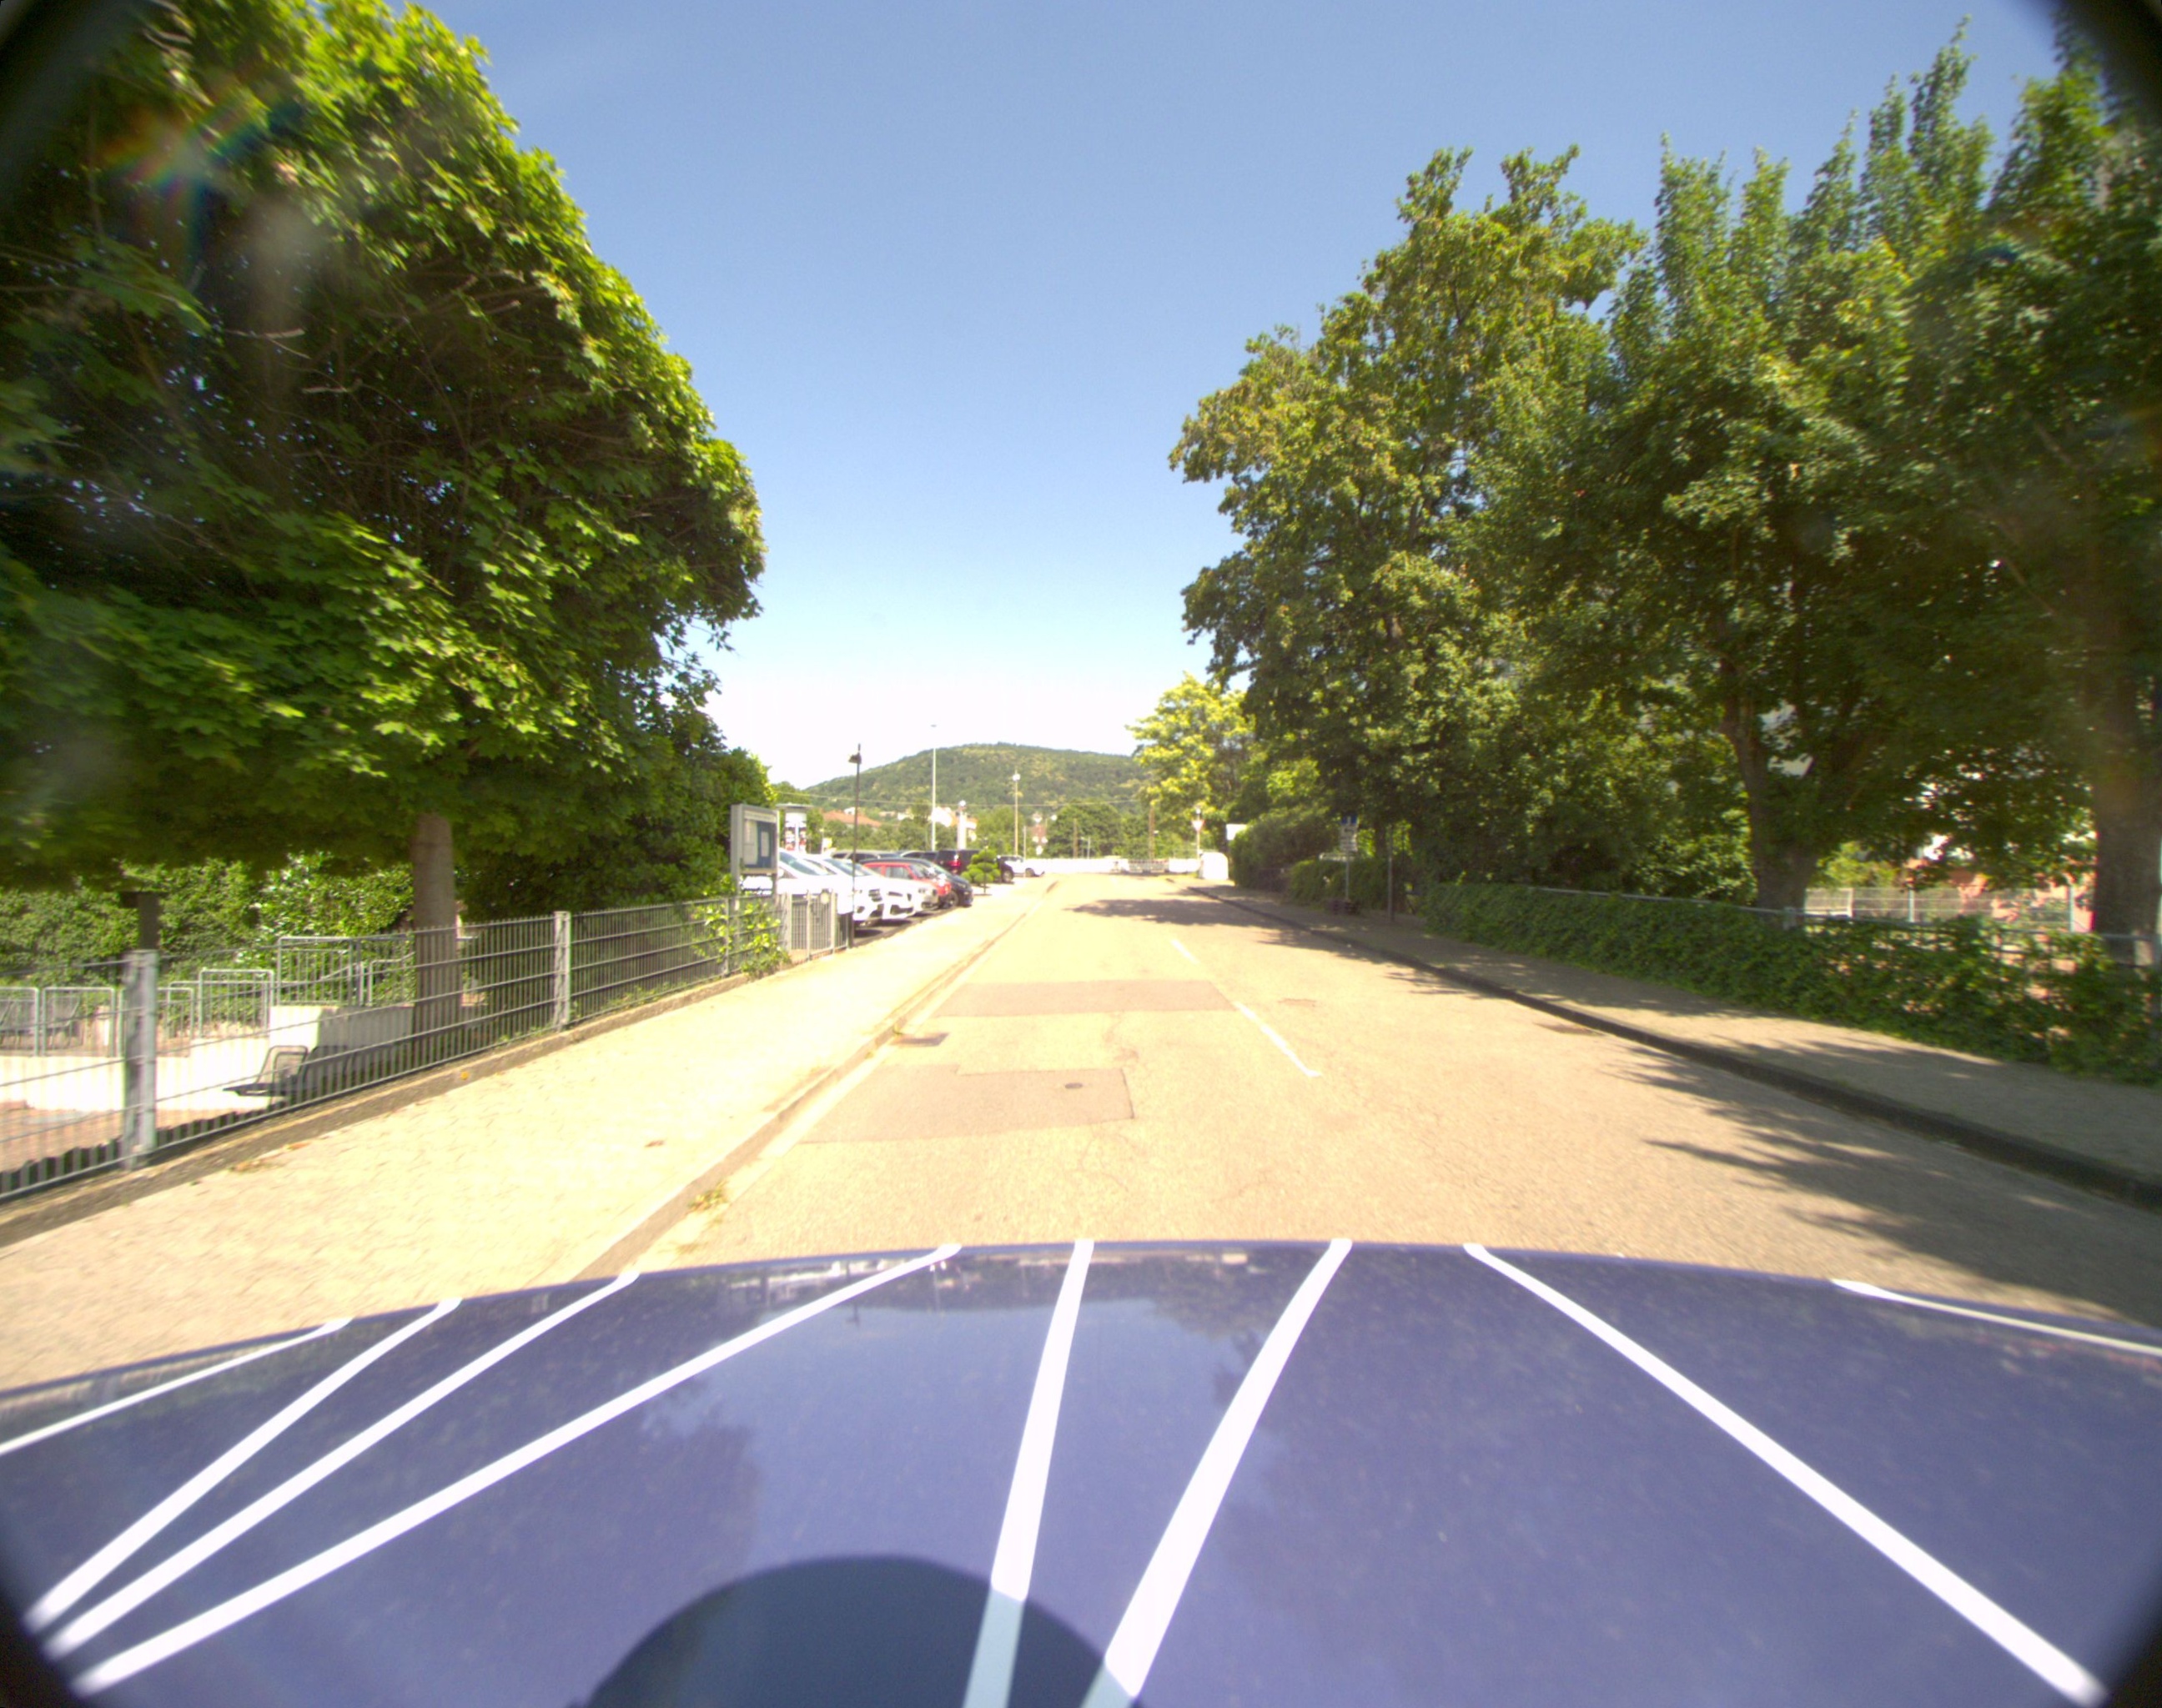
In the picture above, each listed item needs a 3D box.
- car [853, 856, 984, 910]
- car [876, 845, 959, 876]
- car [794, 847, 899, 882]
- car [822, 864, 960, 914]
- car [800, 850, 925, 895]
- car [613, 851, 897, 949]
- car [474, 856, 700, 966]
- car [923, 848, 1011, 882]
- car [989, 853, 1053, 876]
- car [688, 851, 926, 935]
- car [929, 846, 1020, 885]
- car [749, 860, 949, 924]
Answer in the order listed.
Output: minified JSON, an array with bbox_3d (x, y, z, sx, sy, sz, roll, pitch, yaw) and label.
[{"bbox_3d":[-5.158,0.897,24.455,3.812,1.614,1.759,1,0,-1],"label":"car"},{"bbox_3d":[-9.263,0.359,43.541,2.012,1.682,4.827,1,0,27],"label":"car"},{"bbox_3d":[-10.850,0.458,35.310,4.216,1.525,1.919,0,1,-40],"label":"car"},{"bbox_3d":[-5.360,0.978,21.712,3.558,1.327,1.558,1,0,-1],"label":"car"},{"bbox_3d":[-9.172,0.722,31.863,4.984,1.752,1.929,1,0,24],"label":"car"},{"bbox_3d":[-5.822,0.802,13.979,4.414,1.644,1.843,1,0,-2],"label":"car"},{"bbox_3d":[-9.577,1.002,15.177,1.998,1.849,3.788,-1,1,0],"label":"car"},{"bbox_3d":[-6.233,0.565,41.983,2.011,1.769,4.828,1,0,35],"label":"car"},{"bbox_3d":[-4.282,0.720,54.287,4.163,1.412,1.899,3,1,12],"label":"car"},{"bbox_3d":[-5.774,0.799,16.460,4.414,1.519,1.896,2,1,-2],"label":"car"},{"bbox_3d":[-5.077,0.519,36.671,1.847,1.772,4.300,1,1,36],"label":"car"},{"bbox_3d":[-5.700,0.917,19.091,4.414,1.488,1.897,1,0,0],"label":"car"}]
